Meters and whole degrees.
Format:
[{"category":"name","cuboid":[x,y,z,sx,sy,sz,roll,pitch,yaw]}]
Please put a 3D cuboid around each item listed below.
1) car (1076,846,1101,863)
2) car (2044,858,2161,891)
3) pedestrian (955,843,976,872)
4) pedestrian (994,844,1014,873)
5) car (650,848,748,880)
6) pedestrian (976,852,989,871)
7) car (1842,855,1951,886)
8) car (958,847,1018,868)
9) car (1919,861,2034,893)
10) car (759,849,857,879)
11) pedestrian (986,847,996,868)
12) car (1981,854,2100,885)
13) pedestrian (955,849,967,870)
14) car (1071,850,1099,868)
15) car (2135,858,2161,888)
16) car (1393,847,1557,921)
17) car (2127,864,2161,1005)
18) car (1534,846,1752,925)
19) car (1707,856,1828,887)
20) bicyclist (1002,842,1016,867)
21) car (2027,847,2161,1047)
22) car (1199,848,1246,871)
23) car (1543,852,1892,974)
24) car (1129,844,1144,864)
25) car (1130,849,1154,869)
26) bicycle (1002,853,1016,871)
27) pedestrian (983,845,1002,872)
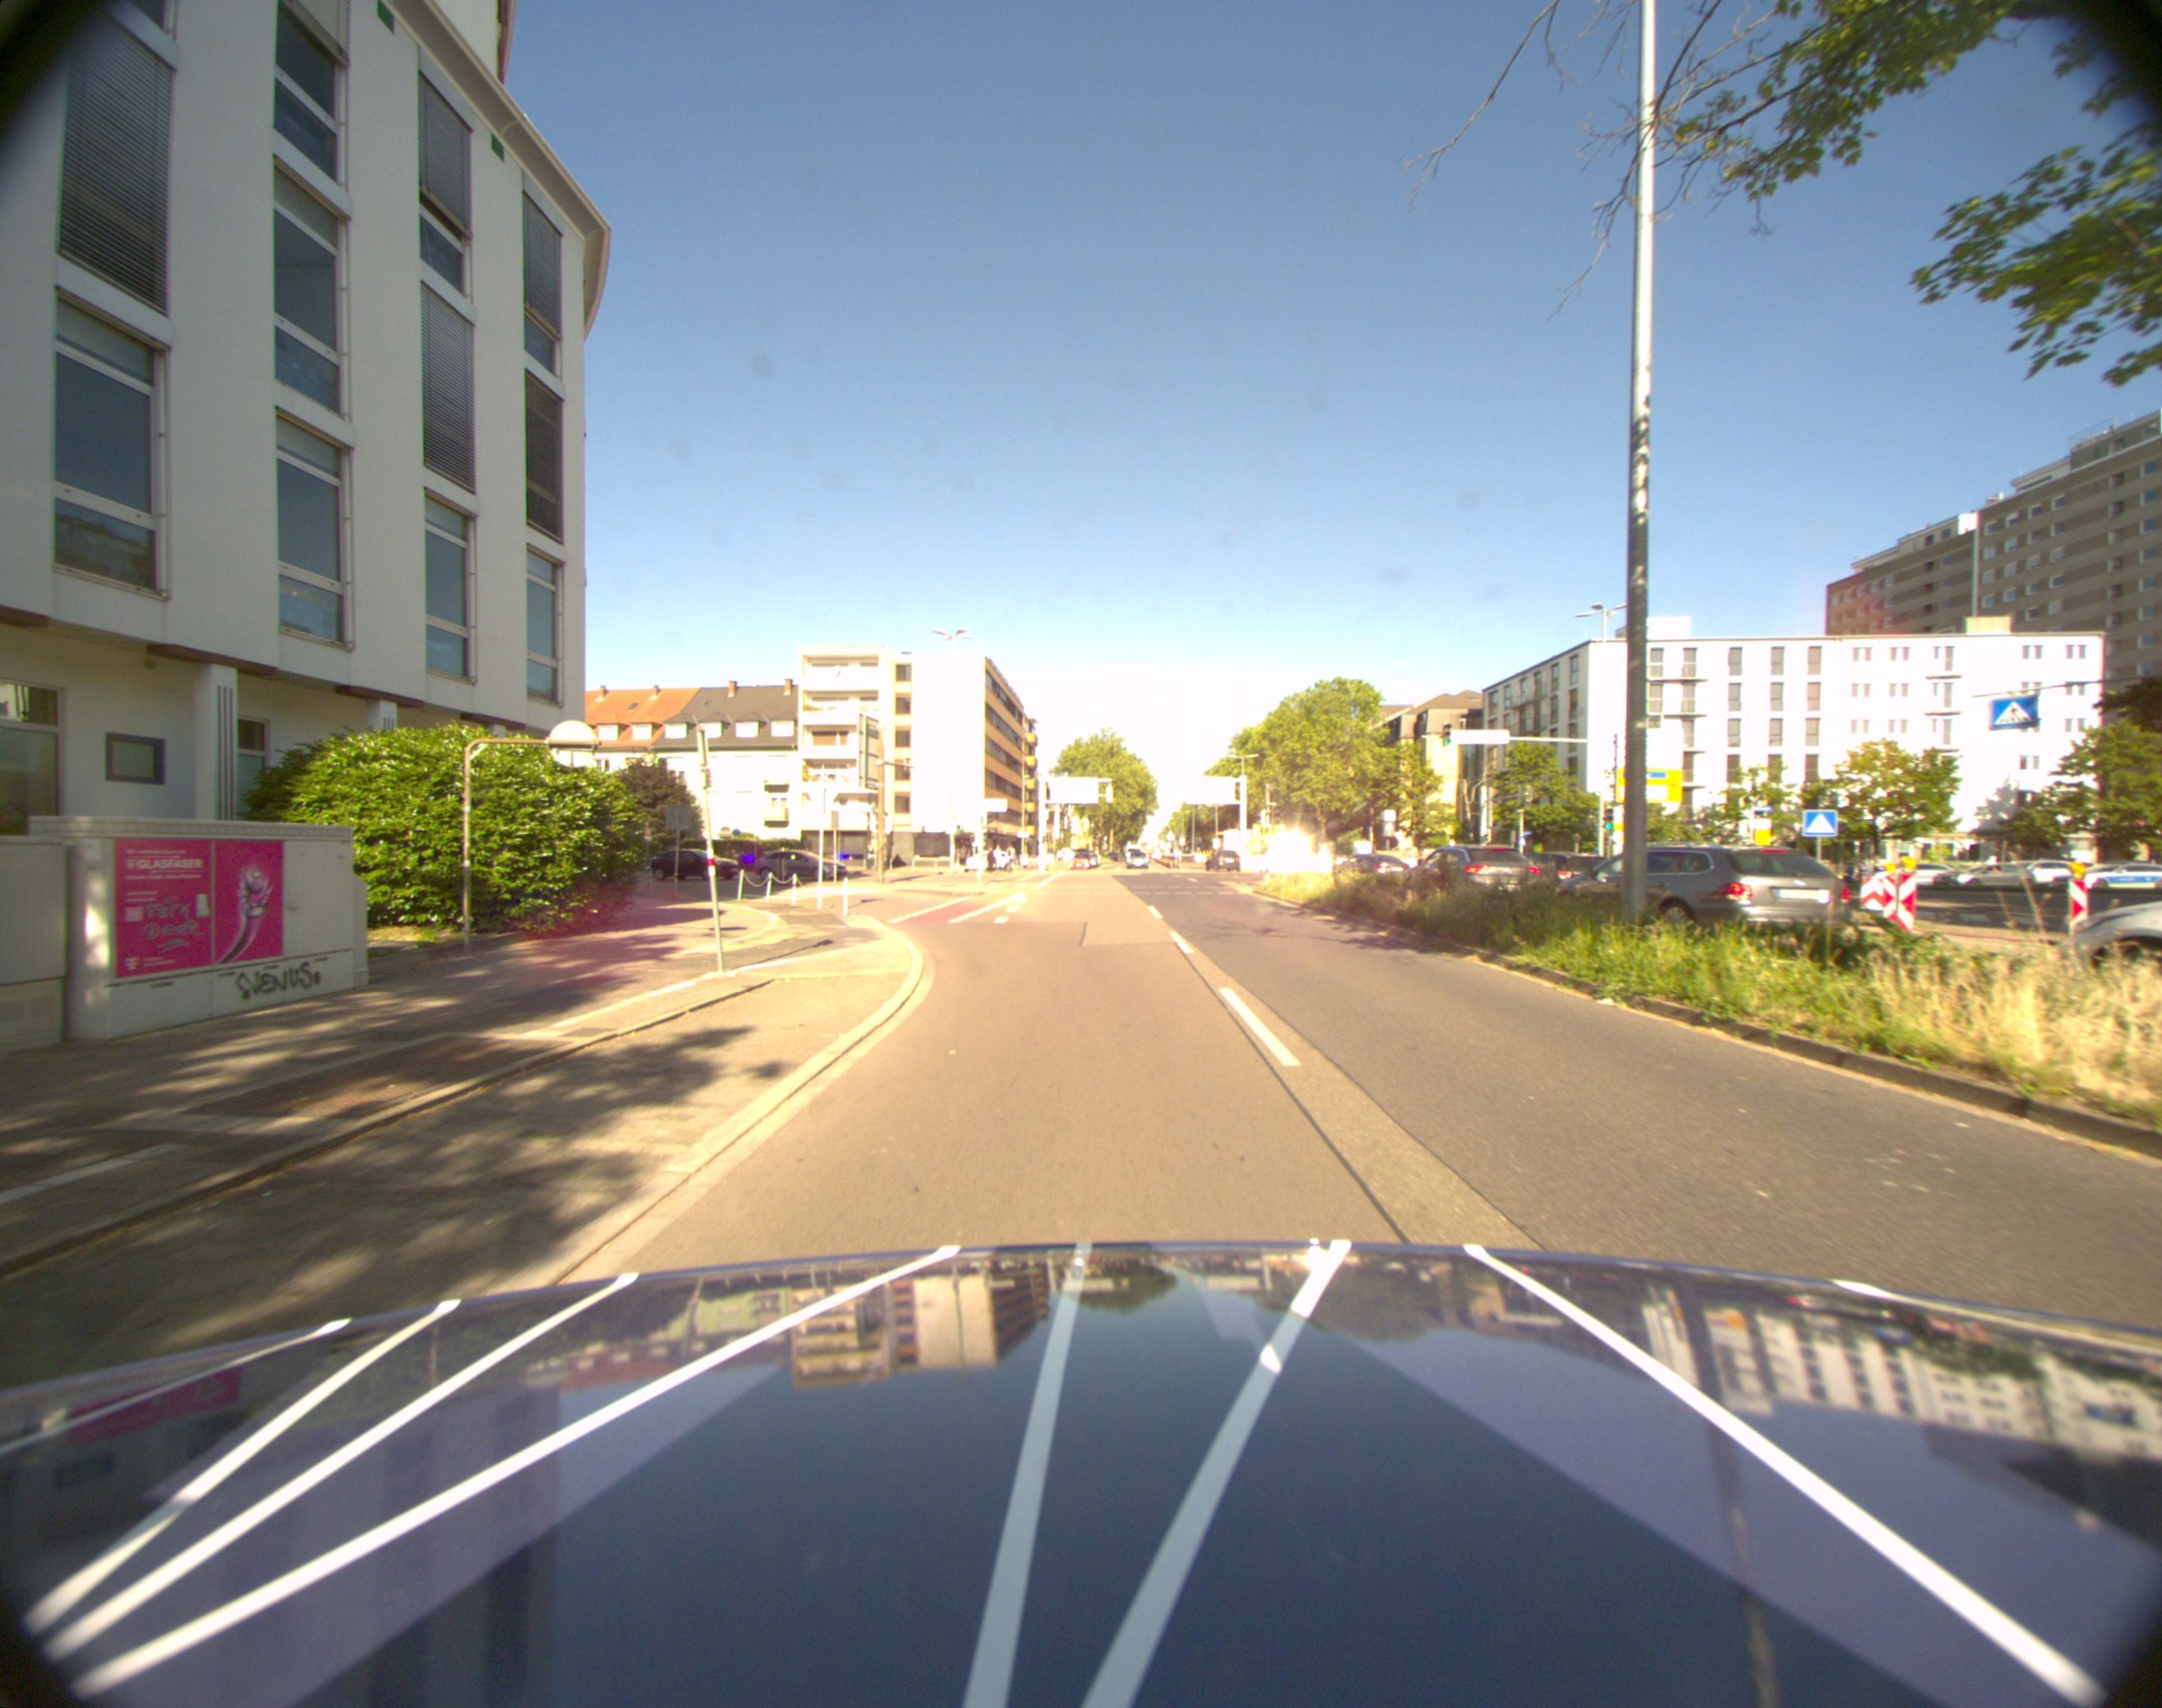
[{"category":"car","cuboid":[0.782,0.021,74.977,1.882,1.511,4.000,0,3,9]},{"category":"car","cuboid":[55.147,1.080,40.578,4.706,1.609,1.918,-1,3,4]},{"category":"pedestrian","cuboid":[-6.766,0.205,44.505,0.798,1.635,0.982,-3,4,-32]},{"category":"pedestrian","cuboid":[-4.442,0.246,43.660,0.788,1.599,0.927,-3,4,-32]},{"category":"car","cuboid":[-18.876,0.485,37.600,4.069,1.483,1.697,0,1,8]},{"category":"pedestrian","cuboid":[-6.215,0.467,47.764,0.647,1.196,0.526,0,4,12]},{"category":"car","cuboid":[47.620,0.943,44.436,3.995,1.609,1.919,0,4,7]},{"category":"car","cuboid":[-7.181,0.281,59.151,1.879,1.510,4.560,-1,-1,41]},{"category":"car","cuboid":[48.711,1.231,41.395,3.995,1.609,1.562,0,4,7]},{"category":"car","cuboid":[-13.258,0.467,36.979,4.051,1.400,1.885,0,1,8]},{"category":"pedestrian","cuboid":[-7.429,0.314,62.644,0.719,1.670,0.696,-1,4,3]},{"category":"car","cuboid":[55.213,0.867,43.810,3.995,1.609,1.919,0,4,7]},{"category":"pedestrian","cuboid":[-9.590,0.427,60.725,0.720,1.670,0.695,-3,4,-24]},{"category":"car","cuboid":[0.395,0.407,66.152,1.882,1.510,4.002,0,1,9]},{"category":"car","cuboid":[63.095,1.080,42.886,3.994,1.609,1.919,0,4,8]},{"category":"car","cuboid":[9.339,0.625,18.457,1.800,1.510,4.346,-1,1,1]},{"category":"car","cuboid":[12.552,0.890,6.420,1.800,1.510,4.079,0,1,1]},{"category":"car","cuboid":[12.491,0.602,17.312,1.800,1.510,4.346,-1,1,1]},{"category":"car","cuboid":[38.678,0.981,42.924,4.703,1.609,1.919,0,4,11]},{"category":"bicyclist","cuboid":[-4.509,0.006,47.467,0.870,1.525,0.852,-1,2,-6]},{"category":"car","cuboid":[9.032,0.715,4.430,1.800,1.510,4.205,0,1,1]},{"category":"car","cuboid":[9.971,0.329,53.859,1.863,1.576,4.273,0,1,-11]},{"category":"car","cuboid":[9.355,0.741,11.766,1.800,1.510,4.363,-1,0,1]},{"category":"car","cuboid":[7.000,-0.066,96.465,1.882,2.498,4.451,0,1,4]},{"category":"car","cuboid":[5.447,0.379,67.475,1.882,1.511,4.000,0,3,9]},{"category":"bicycle","cuboid":[-4.501,0.484,47.609,0.867,0.985,1.900,-1,3,-5]},{"category":"pedestrian","cuboid":[-5.478,0.274,47.051,0.896,1.614,0.721,0,4,12]}]
